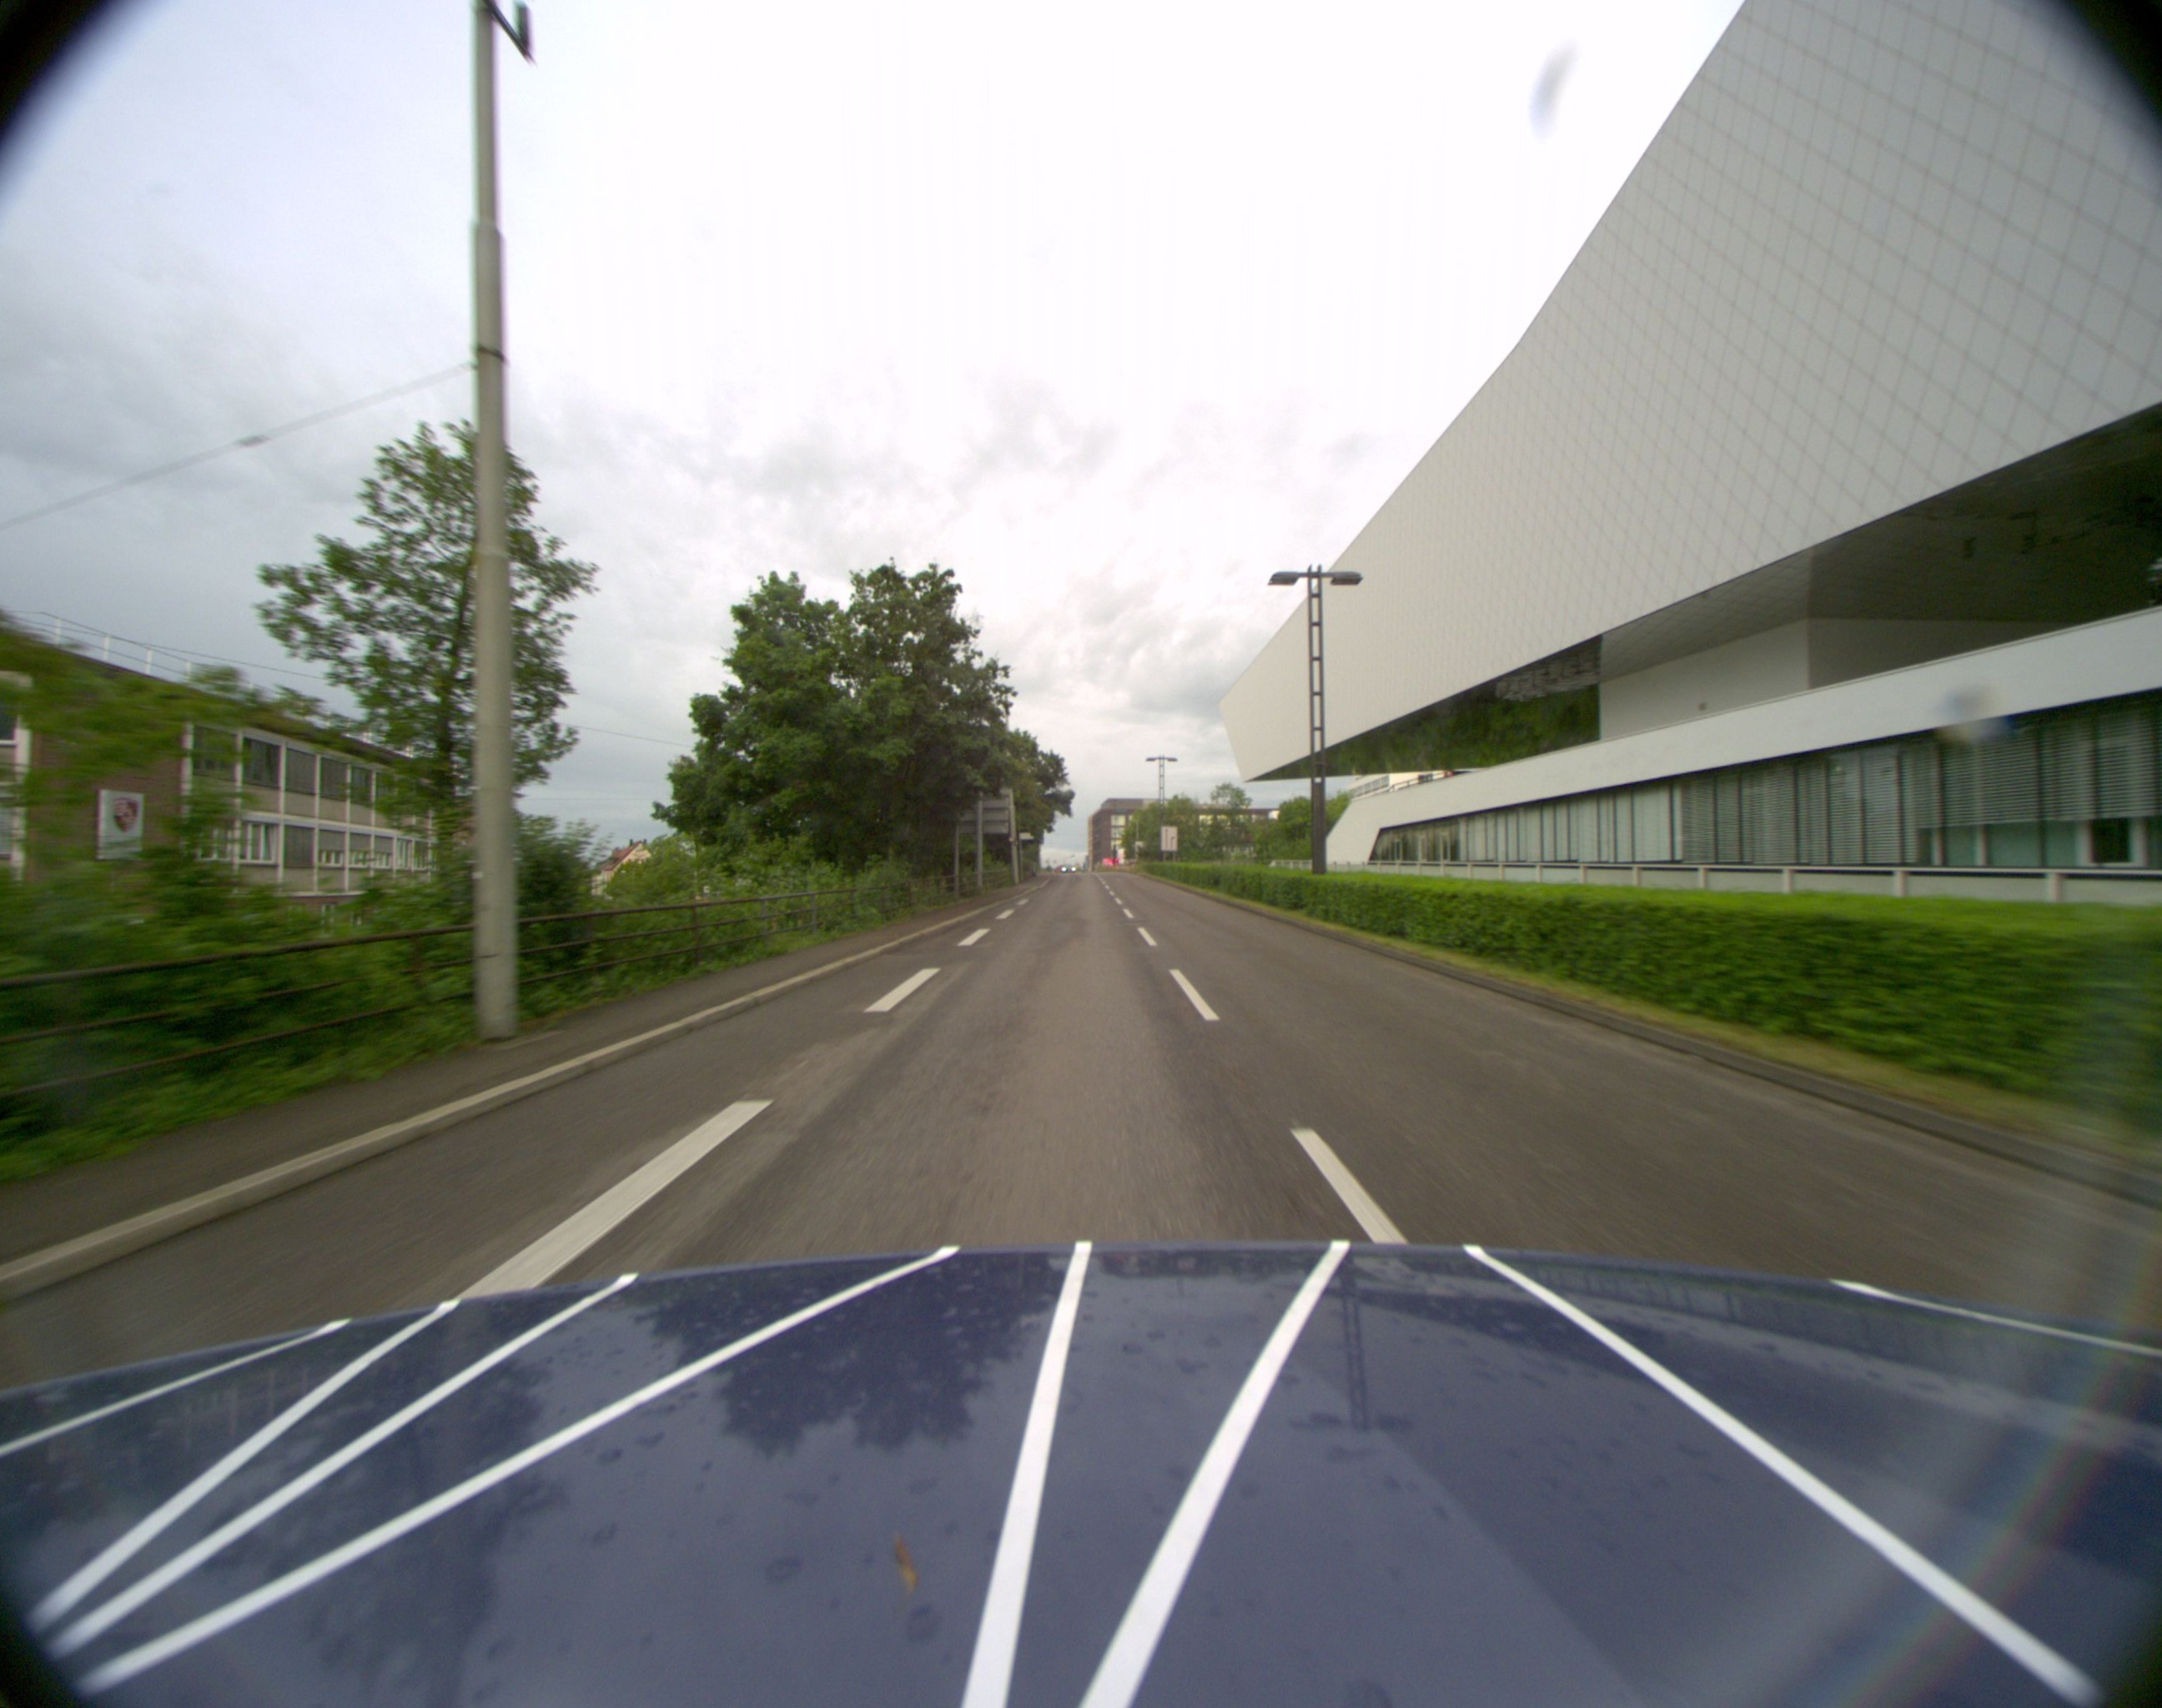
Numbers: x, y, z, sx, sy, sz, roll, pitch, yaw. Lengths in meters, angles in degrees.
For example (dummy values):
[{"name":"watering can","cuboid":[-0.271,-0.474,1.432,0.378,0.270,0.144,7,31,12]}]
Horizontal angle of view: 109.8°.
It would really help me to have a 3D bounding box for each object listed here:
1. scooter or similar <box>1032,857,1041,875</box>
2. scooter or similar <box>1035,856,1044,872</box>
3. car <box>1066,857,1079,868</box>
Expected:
[{"name":"scooter or similar","cuboid":[-3.132,0.828,53.570,0.539,1.225,1.844,-1,1,0]},{"name":"scooter or similar","cuboid":[-3.228,0.779,59.098,0.574,1.201,1.467,-1,1,0]},{"name":"car","cuboid":[-1.250,1.223,113.995,1.841,1.574,4.288,-1,0,-2]}]
